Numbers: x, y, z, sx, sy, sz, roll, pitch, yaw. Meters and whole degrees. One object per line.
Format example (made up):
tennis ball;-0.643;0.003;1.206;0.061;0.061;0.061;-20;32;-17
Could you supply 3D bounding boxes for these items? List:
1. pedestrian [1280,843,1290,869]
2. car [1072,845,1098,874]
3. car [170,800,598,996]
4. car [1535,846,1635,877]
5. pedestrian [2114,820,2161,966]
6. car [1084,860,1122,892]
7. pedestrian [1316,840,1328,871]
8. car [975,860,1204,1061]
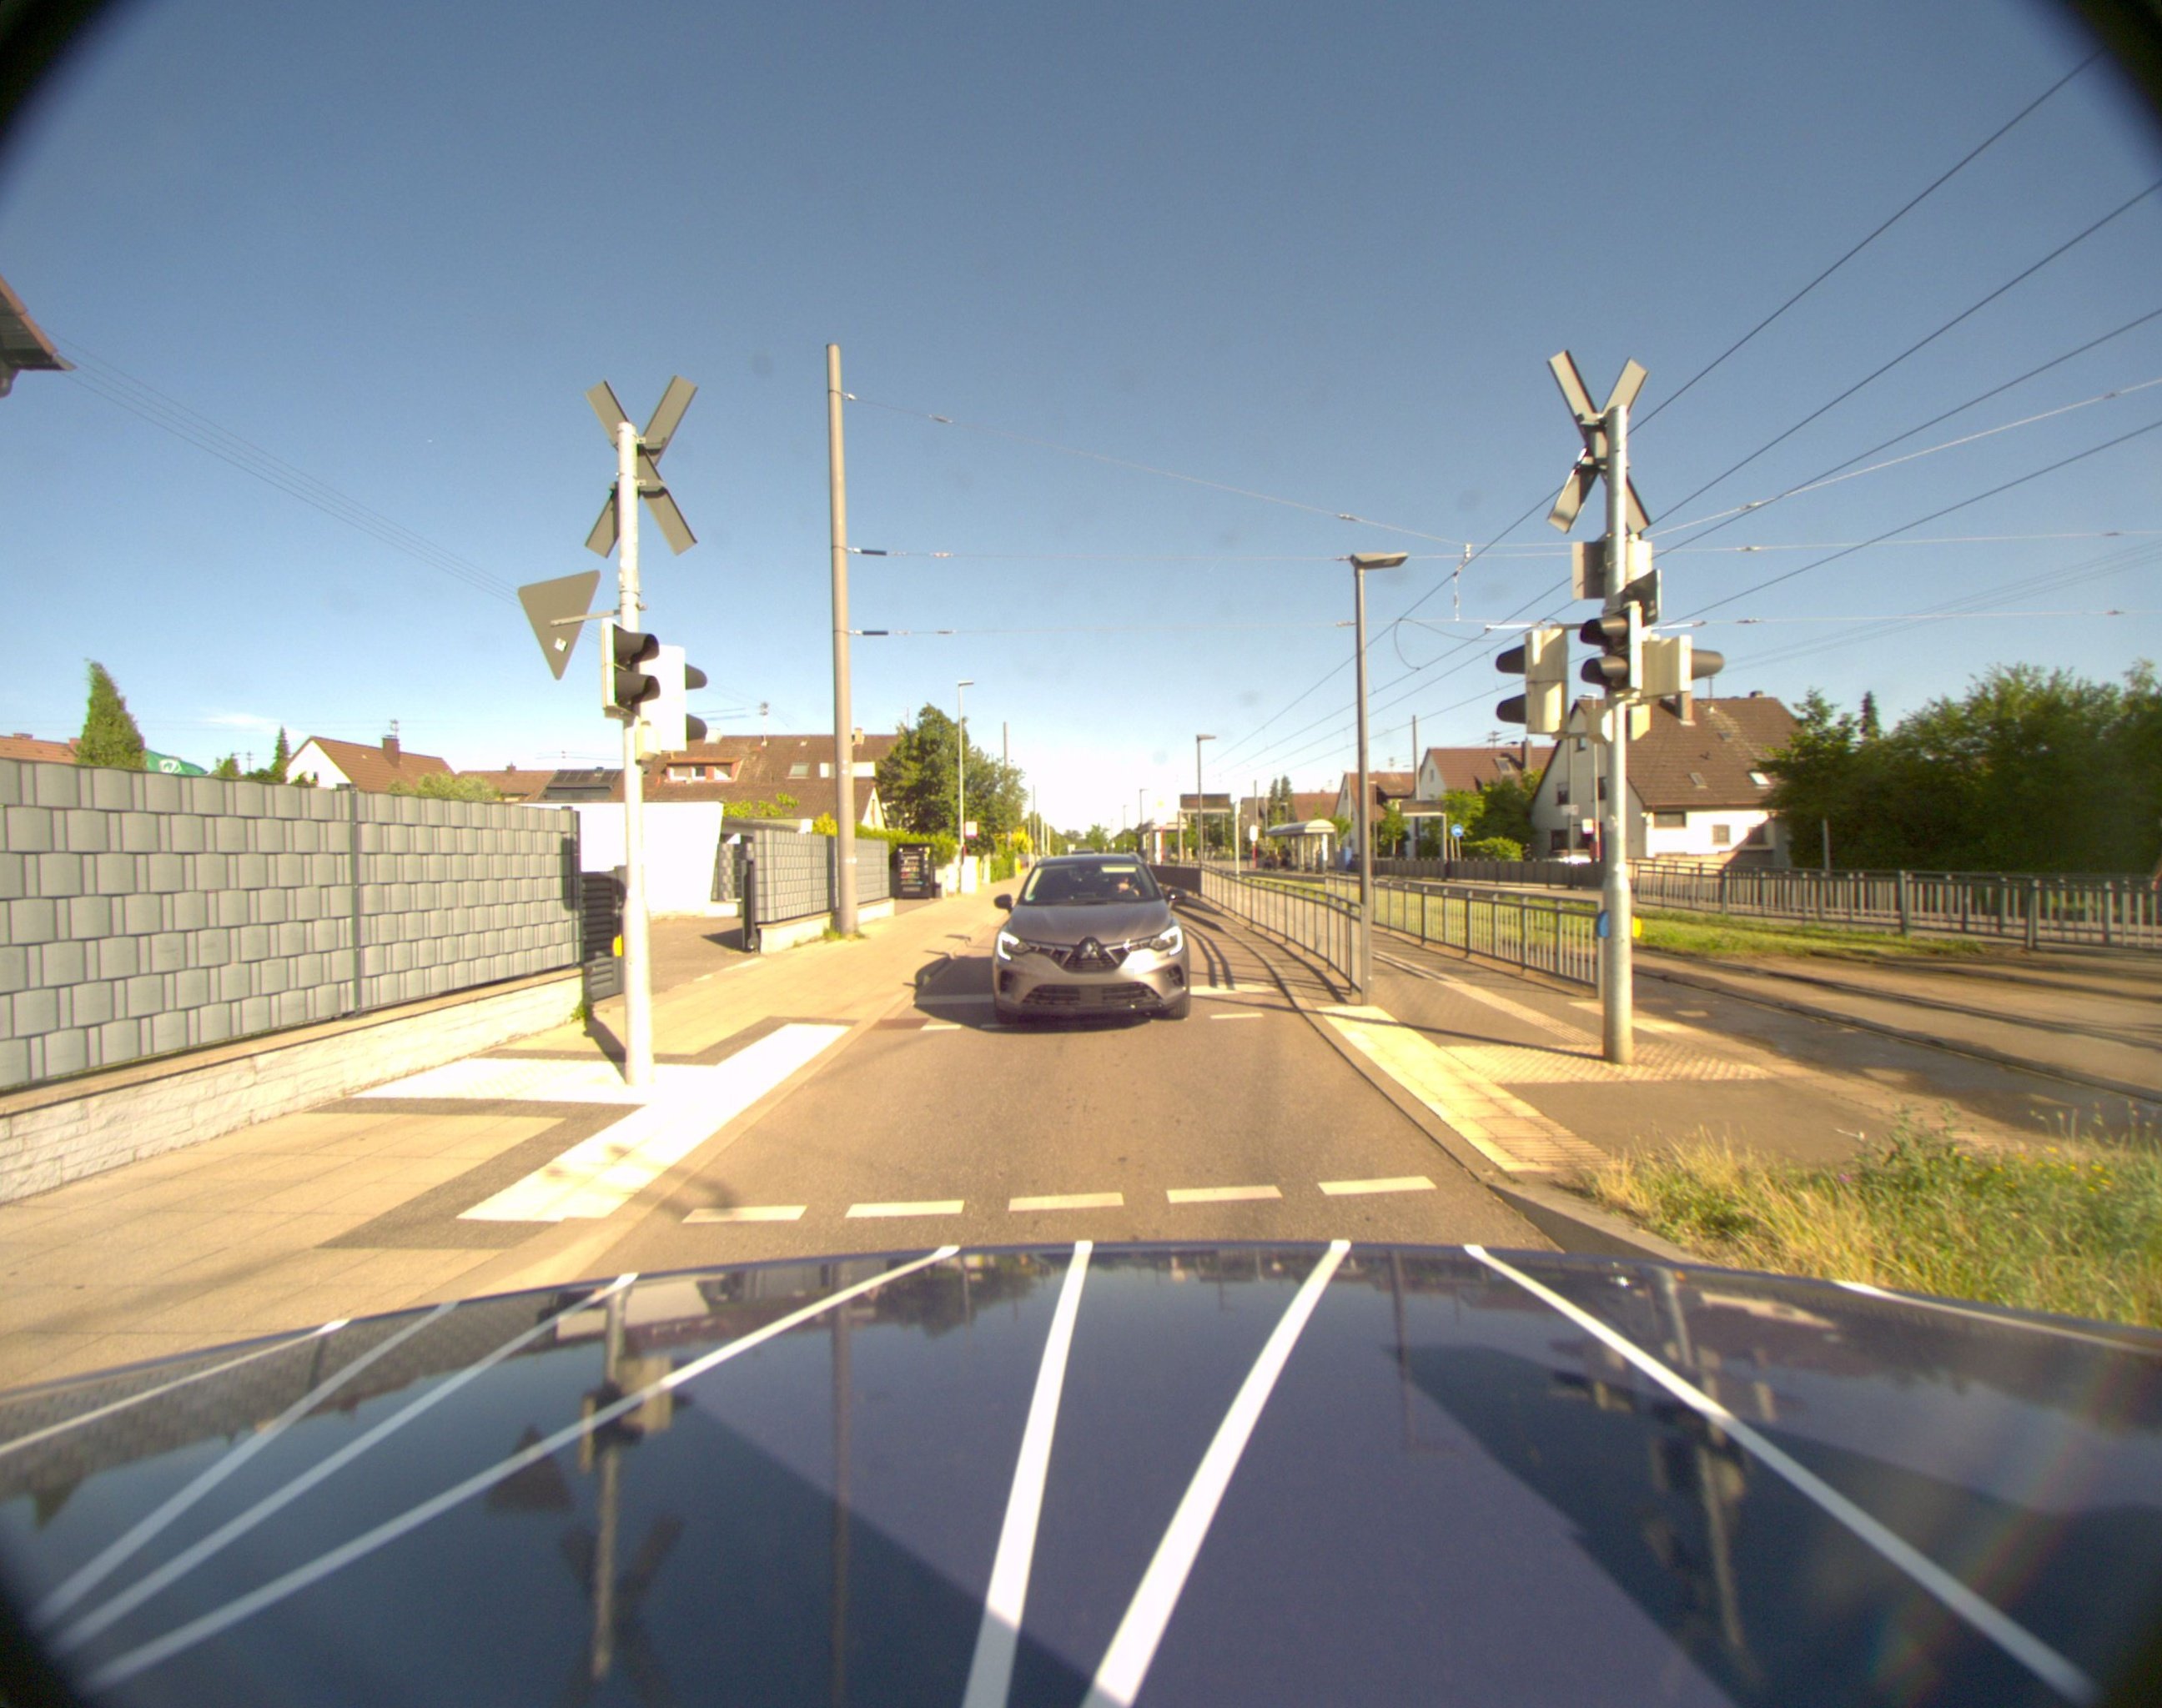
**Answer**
pedestrian;13.539;0.127;50.481;0.534;1.742;0.543;-1;1;0
car;0.376;0.459;64.644;2.089;2.226;4.722;-2;0;1
car;-9.925;0.562;10.944;4.983;2.418;2.001;-1;2;14
car;26.439;0.394;39.965;3.989;1.526;1.999;-1;0;-3
pedestrian;13.515;0.471;9.345;0.690;1.761;0.824;-4;3;-25
car;1.035;0.997;36.413;1.687;1.379;4.000;-2;0;1
pedestrian;13.721;0.083;43.316;0.622;1.742;0.442;-1;1;20
car;0.027;0.891;8.274;1.830;1.570;3.999;-2;0;-1
